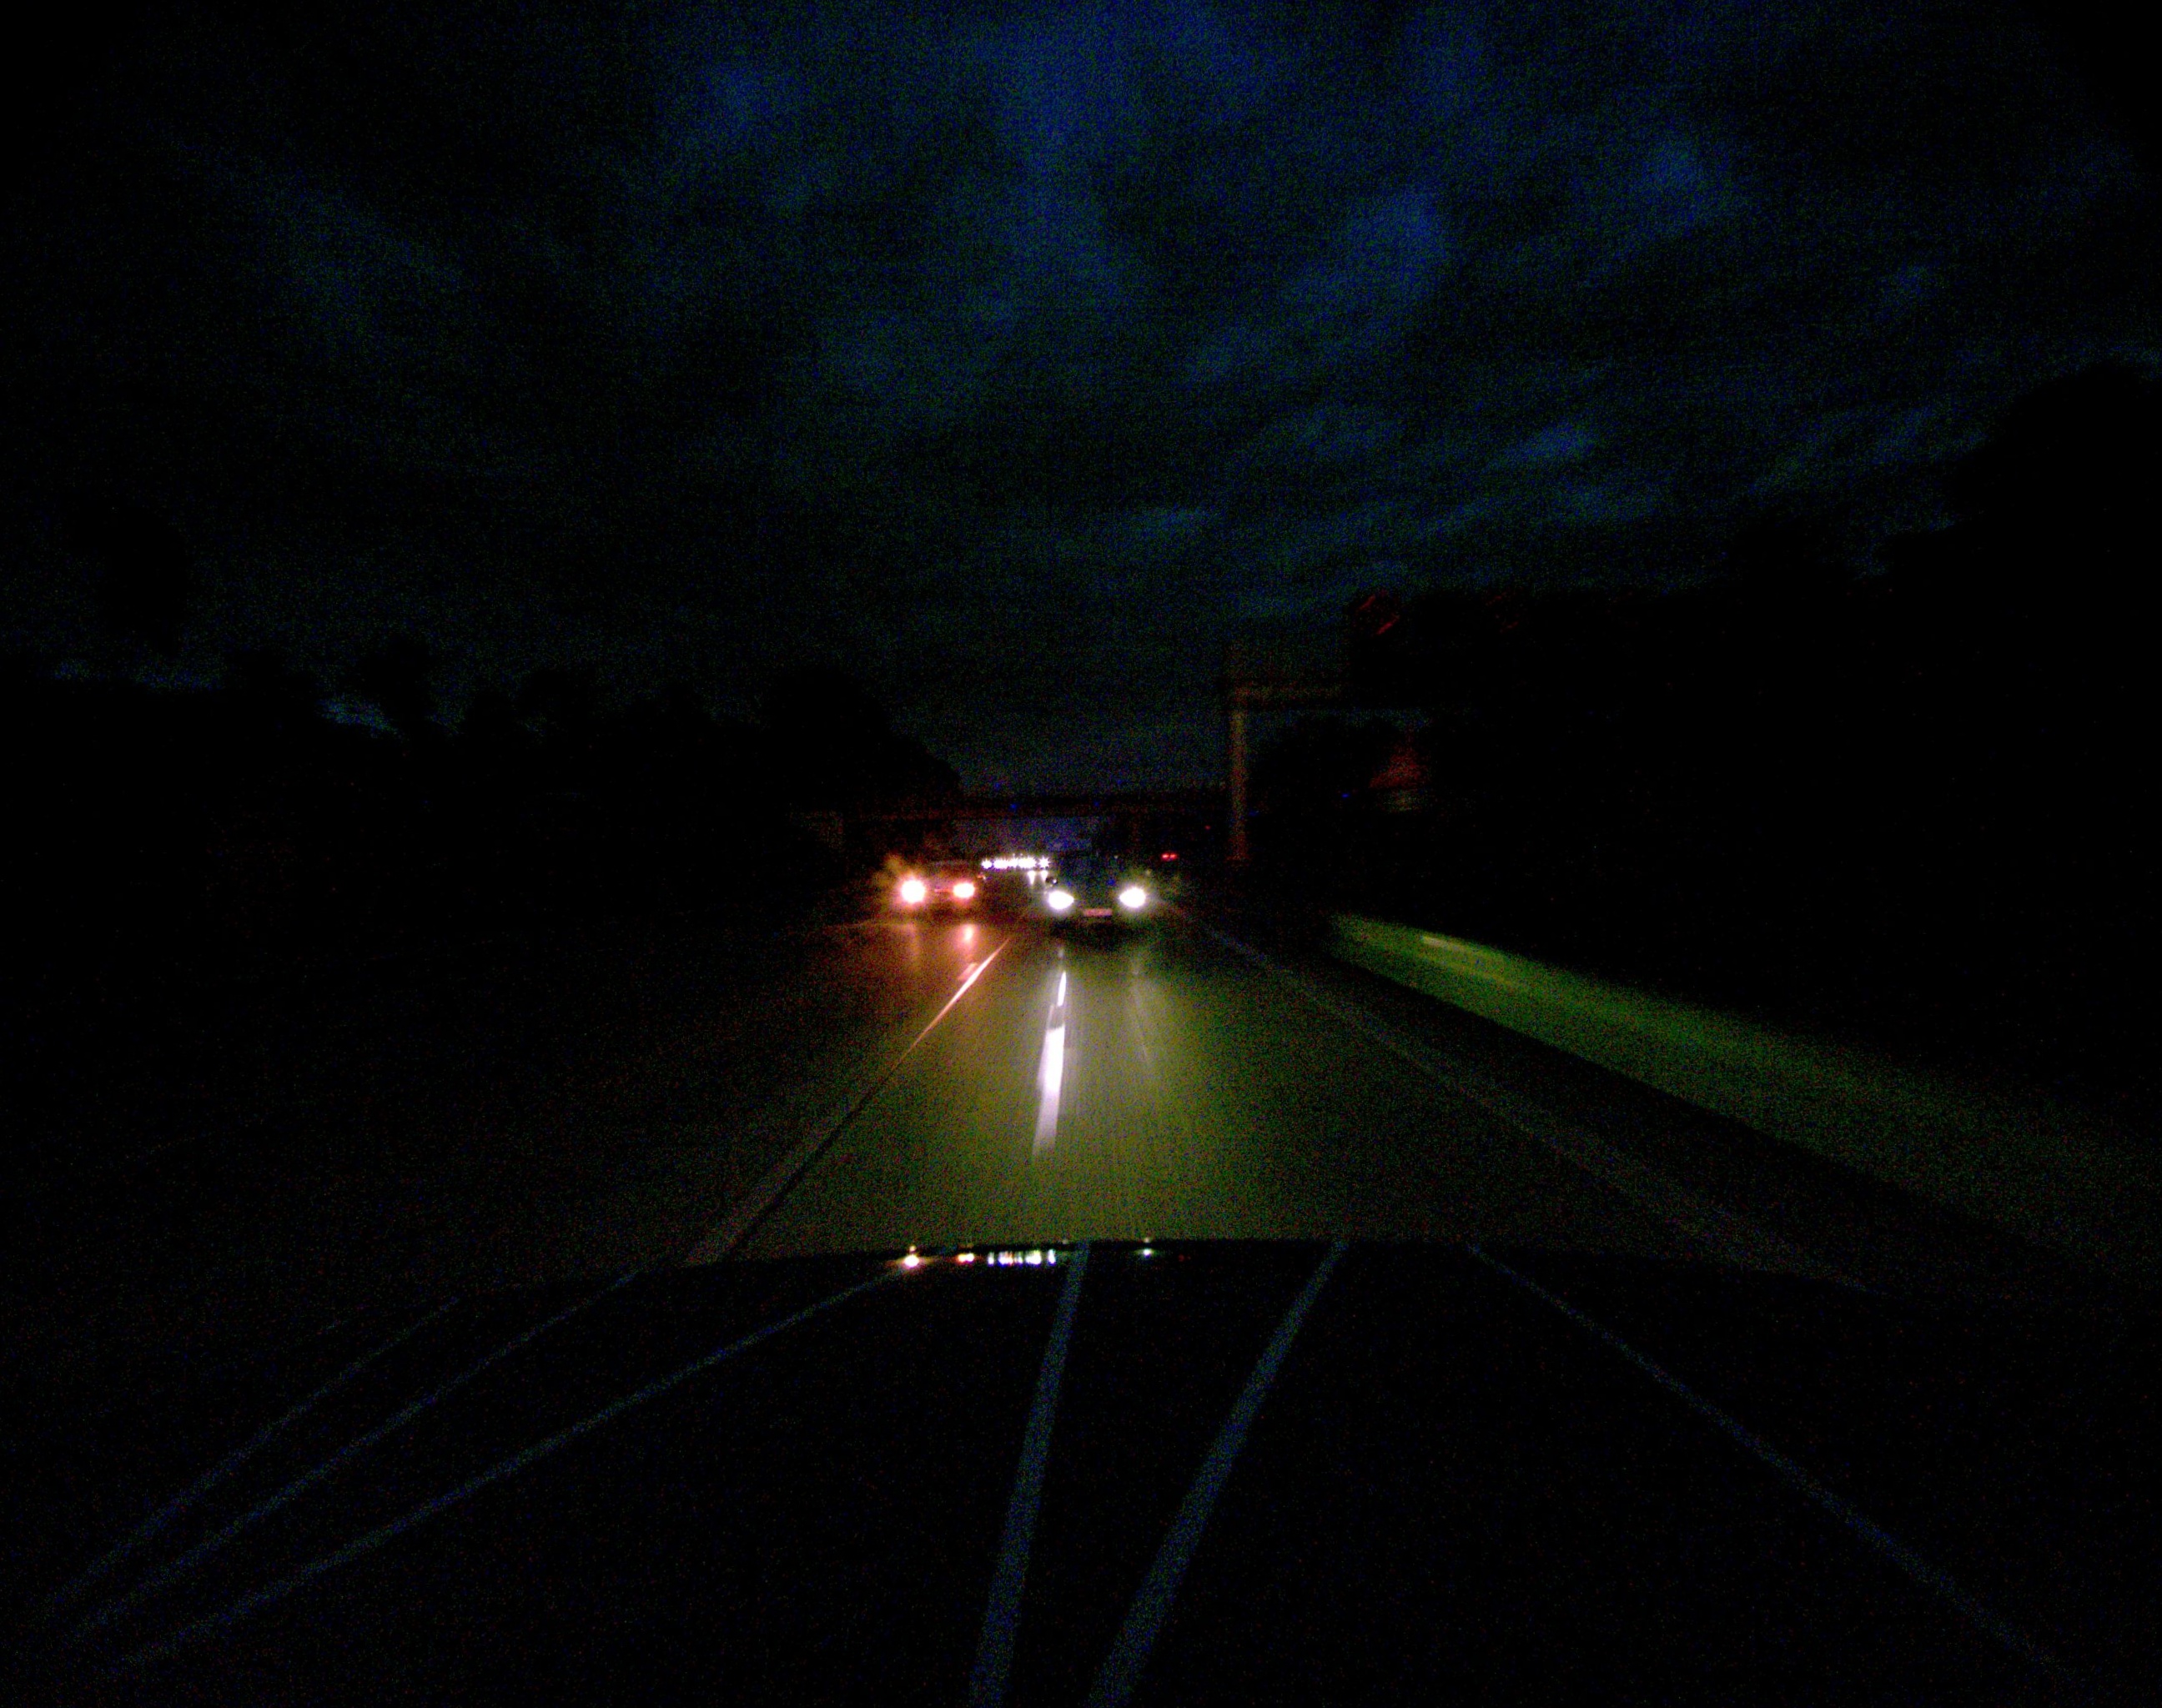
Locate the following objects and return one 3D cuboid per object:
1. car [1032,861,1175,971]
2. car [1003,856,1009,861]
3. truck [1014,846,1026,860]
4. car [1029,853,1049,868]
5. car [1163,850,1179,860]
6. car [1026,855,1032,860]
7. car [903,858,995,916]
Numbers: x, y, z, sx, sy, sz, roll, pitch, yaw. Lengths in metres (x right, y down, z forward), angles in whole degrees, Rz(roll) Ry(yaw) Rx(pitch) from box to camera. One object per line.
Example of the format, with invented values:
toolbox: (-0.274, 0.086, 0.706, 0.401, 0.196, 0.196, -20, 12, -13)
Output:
car: (0.300, 0.861, 12.422, 1.879, 1.435, 4.451, -2, -1, 0)
car: (-24.684, 1.525, 250.767, 1.820, 1.372, 4.041, -2, 0, -5)
truck: (-18.104, -0.195, 224.977, 3.147, 3.987, 10.540, -2, 0, -6)
car: (-4.553, 0.747, 83.127, 1.999, 1.539, 4.000, -2, -1, -1)
car: (14.491, 0.233, 122.640, 1.816, 1.511, 4.429, -1, -1, -2)
car: (-16.855, 1.105, 246.066, 1.820, 1.372, 4.196, -2, 0, -5)
car: (-3.735, 0.903, 22.402, 1.814, 1.457, 5.132, -1, -1, -1)
